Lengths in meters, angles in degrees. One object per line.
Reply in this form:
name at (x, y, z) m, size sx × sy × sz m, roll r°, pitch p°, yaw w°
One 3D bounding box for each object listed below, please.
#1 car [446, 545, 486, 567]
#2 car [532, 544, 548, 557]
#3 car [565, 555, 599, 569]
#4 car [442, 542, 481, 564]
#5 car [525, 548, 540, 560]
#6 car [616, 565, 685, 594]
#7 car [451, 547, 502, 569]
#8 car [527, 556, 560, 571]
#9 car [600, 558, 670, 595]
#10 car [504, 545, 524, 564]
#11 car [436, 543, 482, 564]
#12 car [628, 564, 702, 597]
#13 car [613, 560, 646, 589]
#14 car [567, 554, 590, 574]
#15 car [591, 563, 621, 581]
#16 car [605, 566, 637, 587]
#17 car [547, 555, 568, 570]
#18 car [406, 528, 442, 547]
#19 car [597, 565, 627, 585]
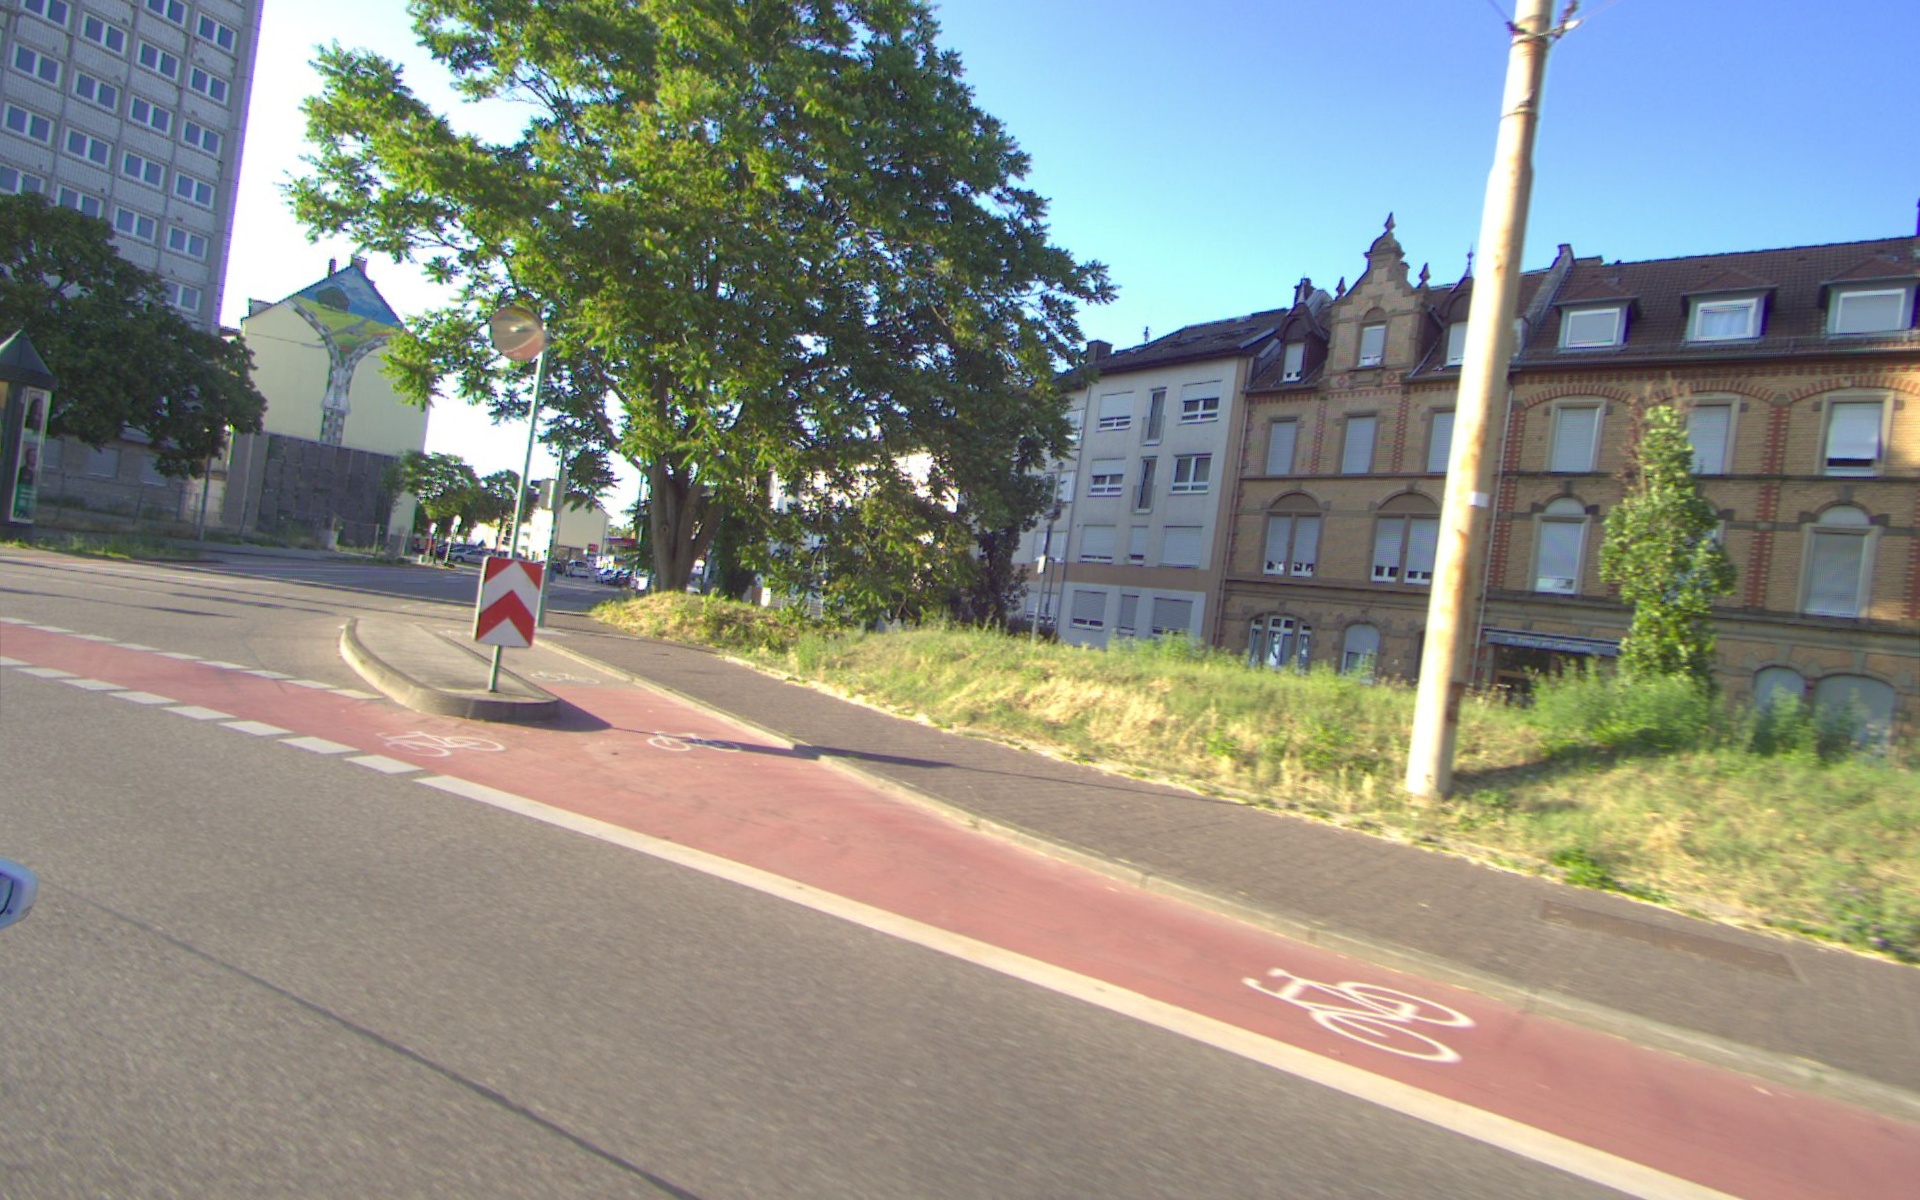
car at (-43.031, -3.818, 87.628) m, size 2.995 × 1.555 × 1.502 m, roll 7°, pitch 0°, yaw -26°
car at (-61.036, -7.198, 146.089) m, size 1.842 × 1.562 × 3.853 m, roll 7°, pitch 0°, yaw -26°
car at (-52.090, -5.242, 138.611) m, size 4.016 × 1.476 × 1.866 m, roll 7°, pitch 0°, yaw -29°
car at (-44.510, -4.225, 89.824) m, size 2.995 × 1.555 × 1.258 m, roll 7°, pitch 0°, yaw -27°
car at (-67.287, -7.302, 158.362) m, size 1.842 × 1.562 × 3.974 m, roll 7°, pitch 0°, yaw -26°
car at (-20.966, -1.399, 68.256) m, size 1.874 × 1.443 × 3.987 m, roll 7°, pitch -1°, yaw 37°
car at (-41.488, -3.615, 86.316) m, size 3.675 × 1.317 × 1.499 m, roll 8°, pitch -1°, yaw -32°
car at (-57.875, -5.101, 139.750) m, size 4.016 × 1.476 × 1.866 m, roll 8°, pitch 0°, yaw -29°
car at (-22.950, -1.641, 71.182) m, size 1.970 × 2.038 × 4.211 m, roll 7°, pitch 0°, yaw 37°
car at (-53.185, -5.446, 119.955) m, size 1.840 × 1.927 × 3.978 m, roll 7°, pitch 0°, yaw -23°
car at (-46.018, -4.258, 92.437) m, size 3.523 × 1.366 × 1.693 m, roll 7°, pitch 0°, yaw -33°
car at (-19.153, -1.251, 65.374) m, size 1.755 × 1.582 × 4.206 m, roll 7°, pitch 0°, yaw 42°
car at (-27.070, -2.105, 82.377) m, size 1.975 × 2.038 × 3.976 m, roll 7°, pitch 0°, yaw -25°
car at (-42.686, -4.011, 112.572) m, size 1.842 × 1.927 × 3.974 m, roll 7°, pitch 0°, yaw -26°
car at (-34.251, -2.711, 97.324) m, size 1.814 × 1.401 × 3.967 m, roll 9°, pitch -1°, yaw -31°
car at (-29.566, -2.064, 87.712) m, size 1.899 × 1.401 × 3.946 m, roll 9°, pitch -1°, yaw -29°
car at (-51.633, -4.790, 128.970) m, size 1.914 × 1.562 × 3.969 m, roll 7°, pitch 0°, yaw -30°
car at (-69.696, -8.114, 130.916) m, size 3.952 × 1.927 × 1.852 m, roll 7°, pitch 0°, yaw -27°
car at (-31.927, -2.283, 92.277) m, size 1.869 × 1.401 × 3.970 m, roll 9°, pitch -1°, yaw -29°
